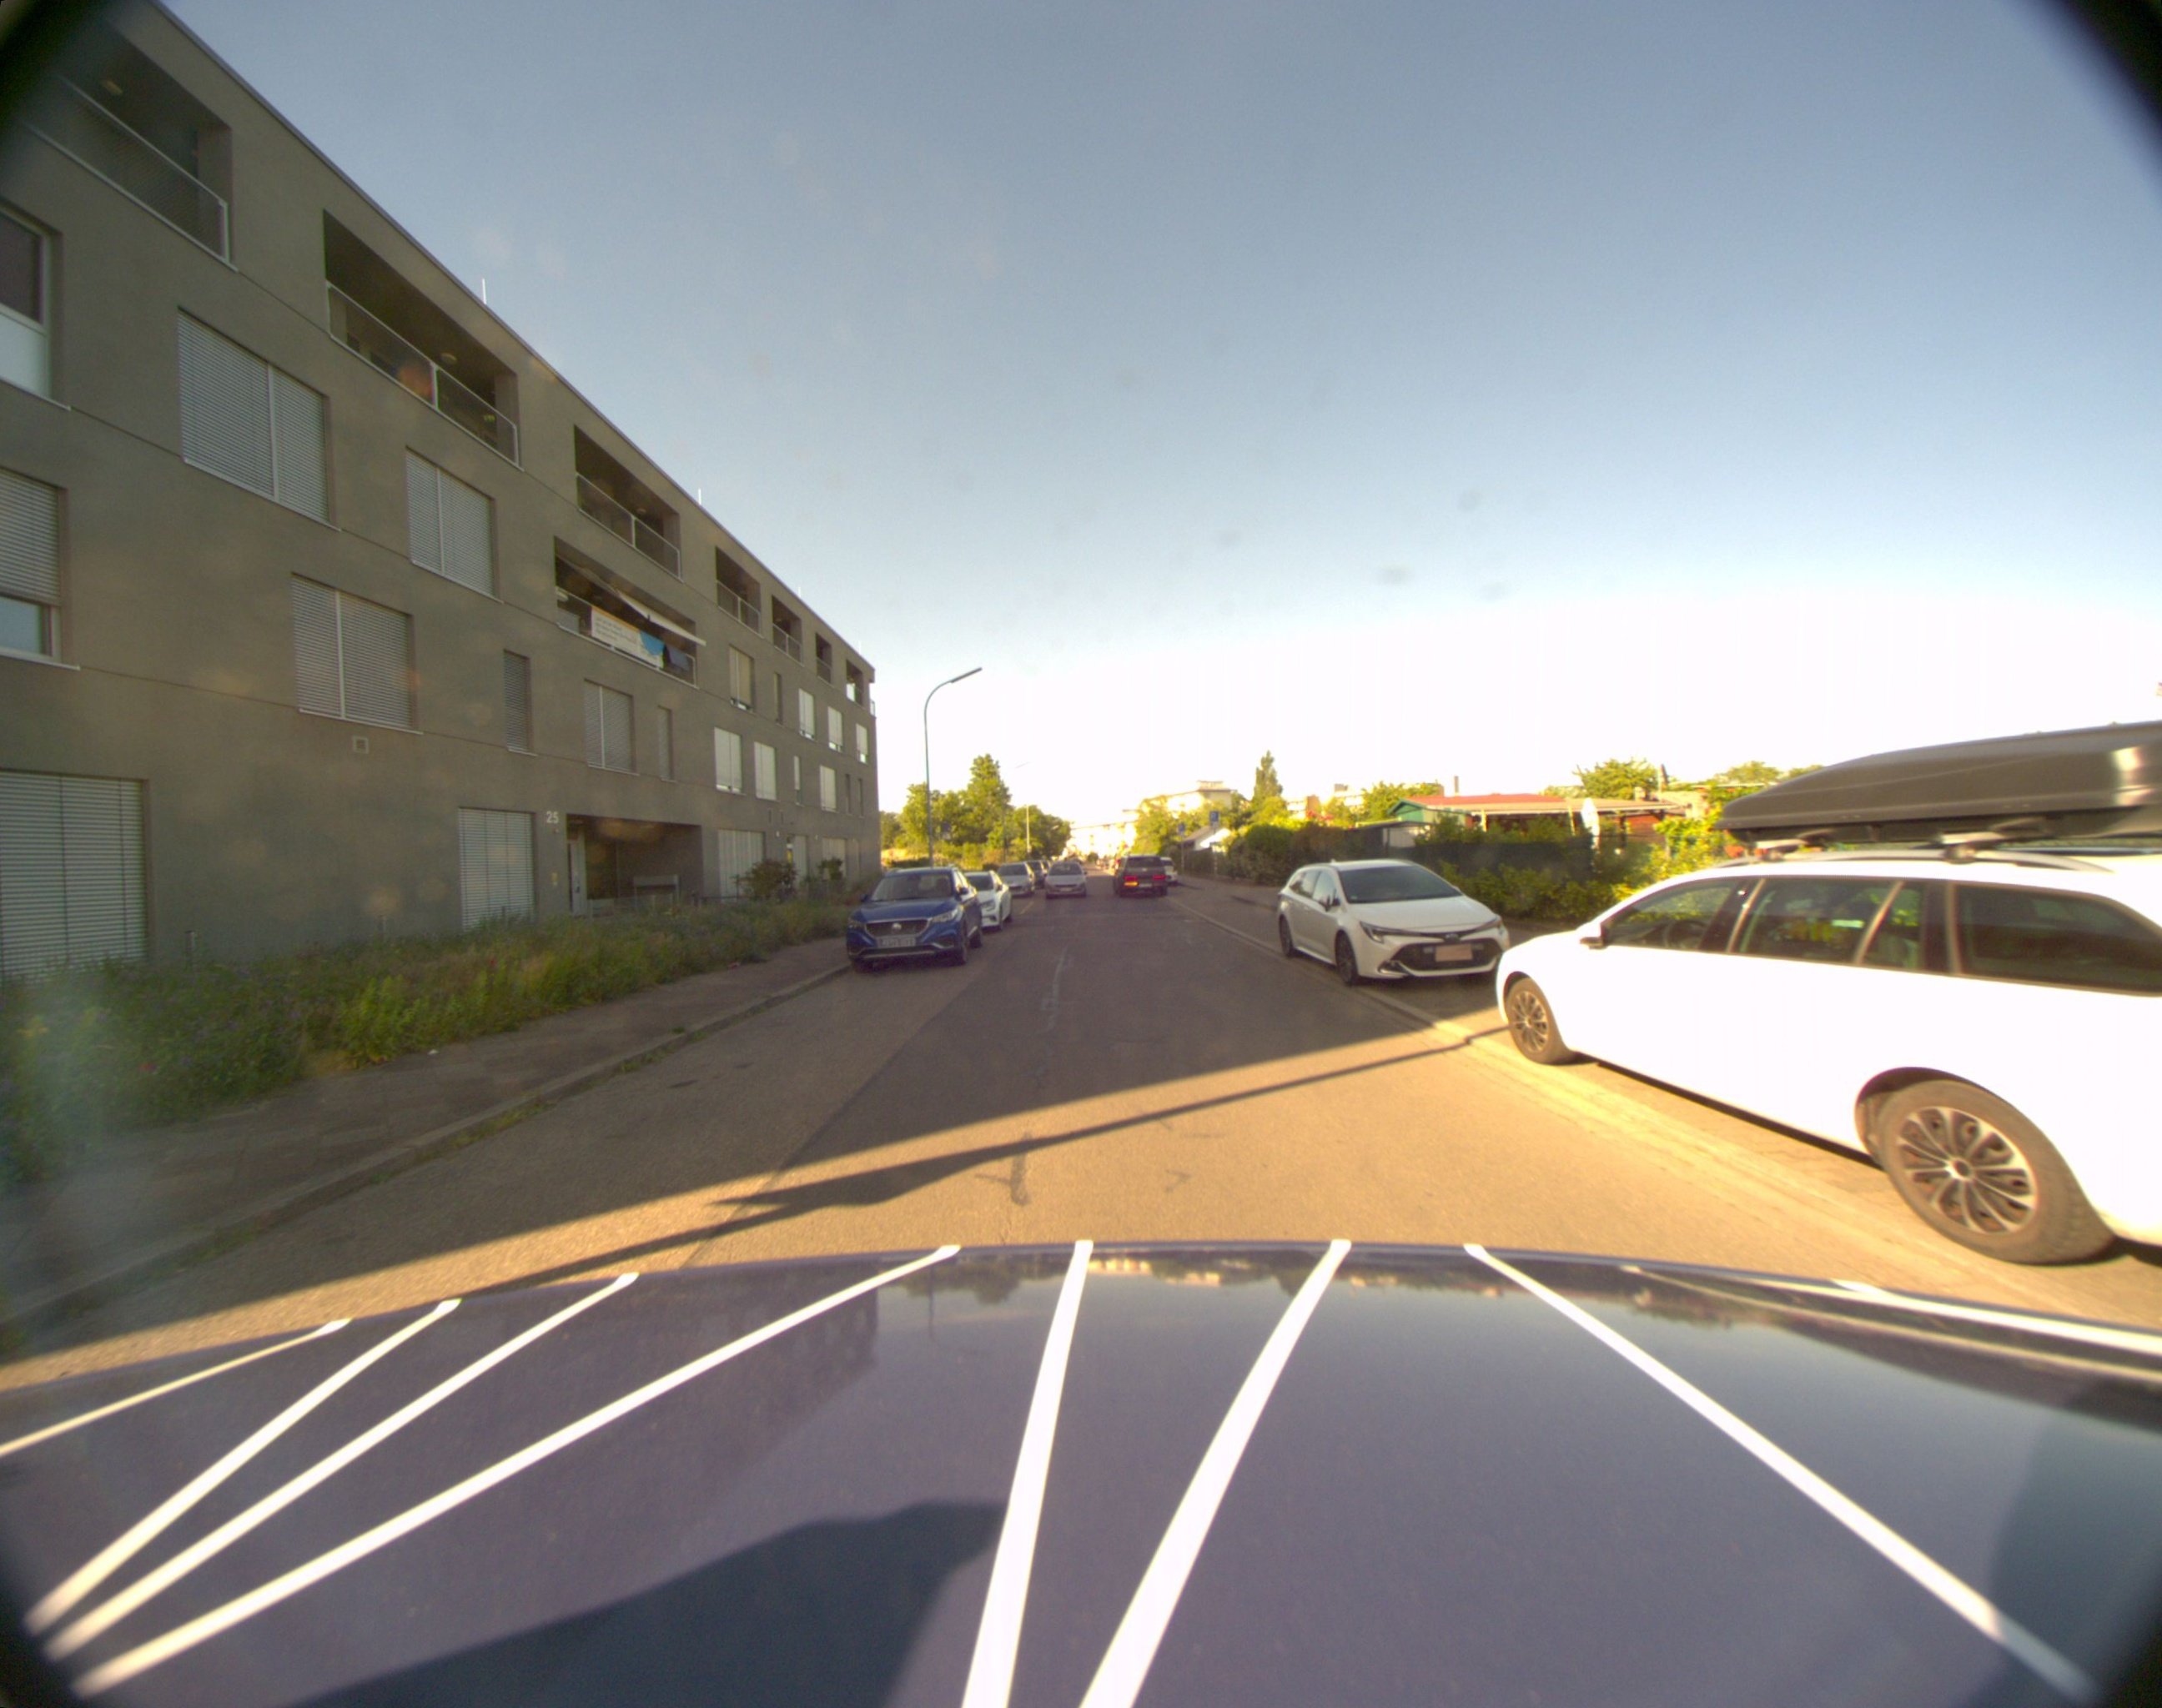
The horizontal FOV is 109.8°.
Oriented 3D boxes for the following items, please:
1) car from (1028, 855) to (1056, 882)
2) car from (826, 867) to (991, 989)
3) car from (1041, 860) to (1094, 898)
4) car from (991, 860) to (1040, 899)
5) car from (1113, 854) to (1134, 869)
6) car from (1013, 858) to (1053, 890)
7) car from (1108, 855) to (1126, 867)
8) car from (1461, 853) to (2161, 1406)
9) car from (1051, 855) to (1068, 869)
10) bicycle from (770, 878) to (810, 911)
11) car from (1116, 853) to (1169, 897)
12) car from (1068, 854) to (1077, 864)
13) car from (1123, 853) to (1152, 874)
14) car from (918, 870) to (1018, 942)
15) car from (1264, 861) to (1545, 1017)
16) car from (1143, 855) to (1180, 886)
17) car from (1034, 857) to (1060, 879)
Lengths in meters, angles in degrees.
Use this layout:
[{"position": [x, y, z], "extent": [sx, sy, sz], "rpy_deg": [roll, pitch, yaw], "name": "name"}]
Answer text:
[{"position": [-2.719, 1.003, 53.860], "extent": [1.711, 1.695, 4.349], "rpy_deg": [-4, 0, -1], "name": "car"}, {"position": [-2.786, 1.118, 13.401], "extent": [1.822, 1.590, 4.627], "rpy_deg": [-4, 0, -1], "name": "car"}, {"position": [-0.505, 1.032, 32.552], "extent": [1.678, 1.440, 4.002], "rpy_deg": [-2, 0, 7], "name": "car"}, {"position": [-2.921, 1.096, 34.449], "extent": [1.711, 1.517, 4.155], "rpy_deg": [-3, 0, 1], "name": "car"}, {"position": [4.175, 0.745, 75.346], "extent": [1.700, 1.421, 4.385], "rpy_deg": [-2, 0, 0], "name": "car"}, {"position": [-2.672, 1.085, 43.484], "extent": [1.749, 1.557, 4.803], "rpy_deg": [-4, 0, 2], "name": "car"}, {"position": [4.036, 0.778, 85.593], "extent": [1.700, 1.361, 3.910], "rpy_deg": [-2, 0, 0], "name": "car"}, {"position": [3.963, 0.820, 3.839], "extent": [1.700, 1.504, 4.517], "rpy_deg": [-5, 0, 0], "name": "car"}, {"position": [-2.665, 0.975, 94.240], "extent": [1.873, 1.517, 4.155], "rpy_deg": [-2, 0, 1], "name": "car"}, {"position": [-10.425, 1.439, 27.249], "extent": [0.553, 1.055, 1.842], "rpy_deg": [-3, 0, 4], "name": "bicycle"}, {"position": [2.497, 0.821, 31.751], "extent": [1.947, 1.717, 4.839], "rpy_deg": [0, 0, 2], "name": "car"}, {"position": [-1.838, 1.087, 166.677], "extent": [1.998, 2.002, 4.000], "rpy_deg": [-2, 0, 0], "name": "car"}, {"position": [4.249, 0.718, 57.544], "extent": [1.700, 1.415, 4.516], "rpy_deg": [-4, 0, 0], "name": "car"}, {"position": [-2.736, 1.218, 19.449], "extent": [1.749, 1.421, 4.586], "rpy_deg": [-4, 0, 1], "name": "car"}, {"position": [3.915, 0.911, 10.187], "extent": [1.751, 1.437, 4.541], "rpy_deg": [-5, 0, 0], "name": "car"}, {"position": [4.163, 0.826, 39.737], "extent": [1.531, 1.479, 3.401], "rpy_deg": [-3, 0, 0], "name": "car"}, {"position": [-2.615, 1.052, 58.699], "extent": [1.711, 1.517, 3.093], "rpy_deg": [-4, 0, 1], "name": "car"}]
